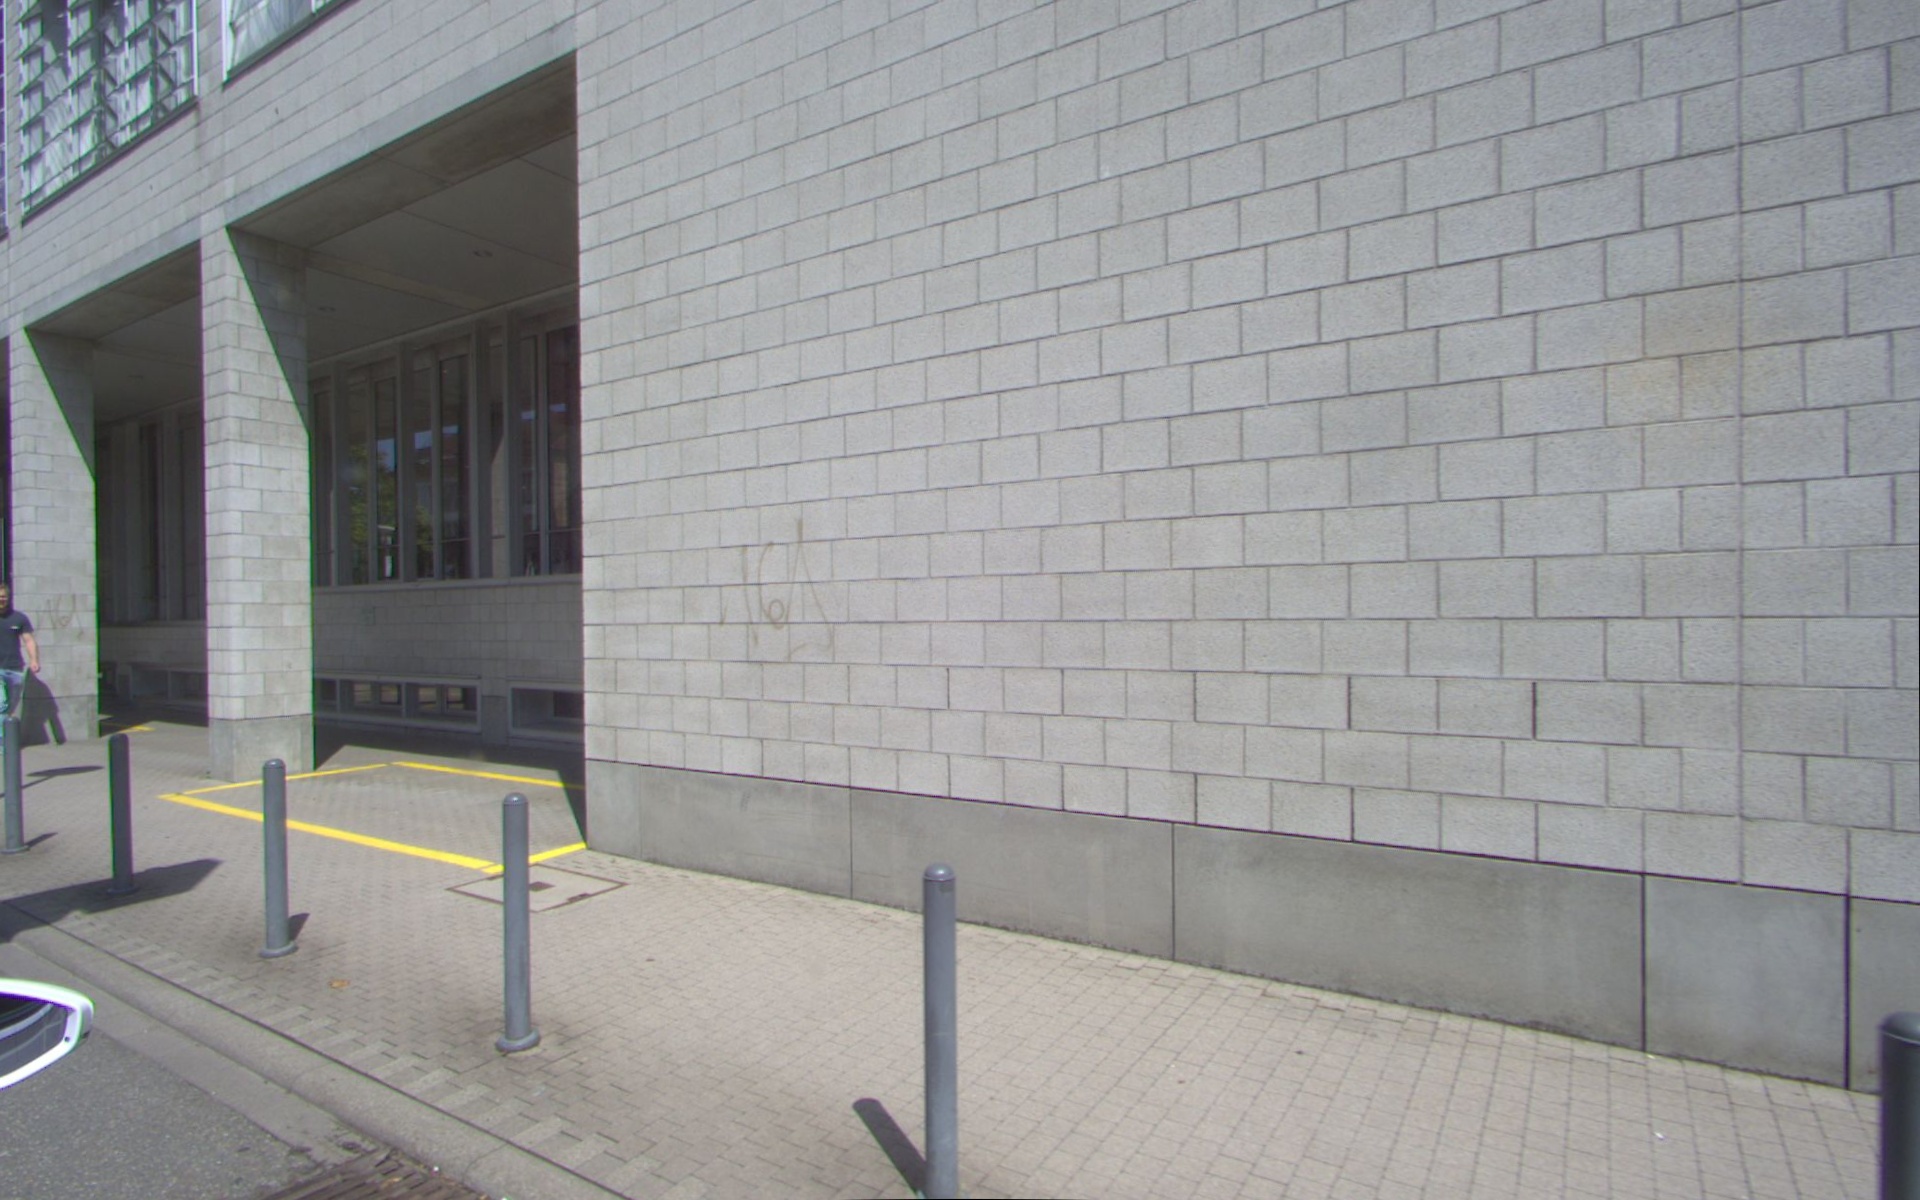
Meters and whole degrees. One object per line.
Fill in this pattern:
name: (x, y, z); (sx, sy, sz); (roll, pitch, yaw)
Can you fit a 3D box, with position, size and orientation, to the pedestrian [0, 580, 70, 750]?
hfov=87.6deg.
pedestrian: (-10.461, 0.689, 10.985); (0.897, 1.805, 0.765); (0, 2, 31)
